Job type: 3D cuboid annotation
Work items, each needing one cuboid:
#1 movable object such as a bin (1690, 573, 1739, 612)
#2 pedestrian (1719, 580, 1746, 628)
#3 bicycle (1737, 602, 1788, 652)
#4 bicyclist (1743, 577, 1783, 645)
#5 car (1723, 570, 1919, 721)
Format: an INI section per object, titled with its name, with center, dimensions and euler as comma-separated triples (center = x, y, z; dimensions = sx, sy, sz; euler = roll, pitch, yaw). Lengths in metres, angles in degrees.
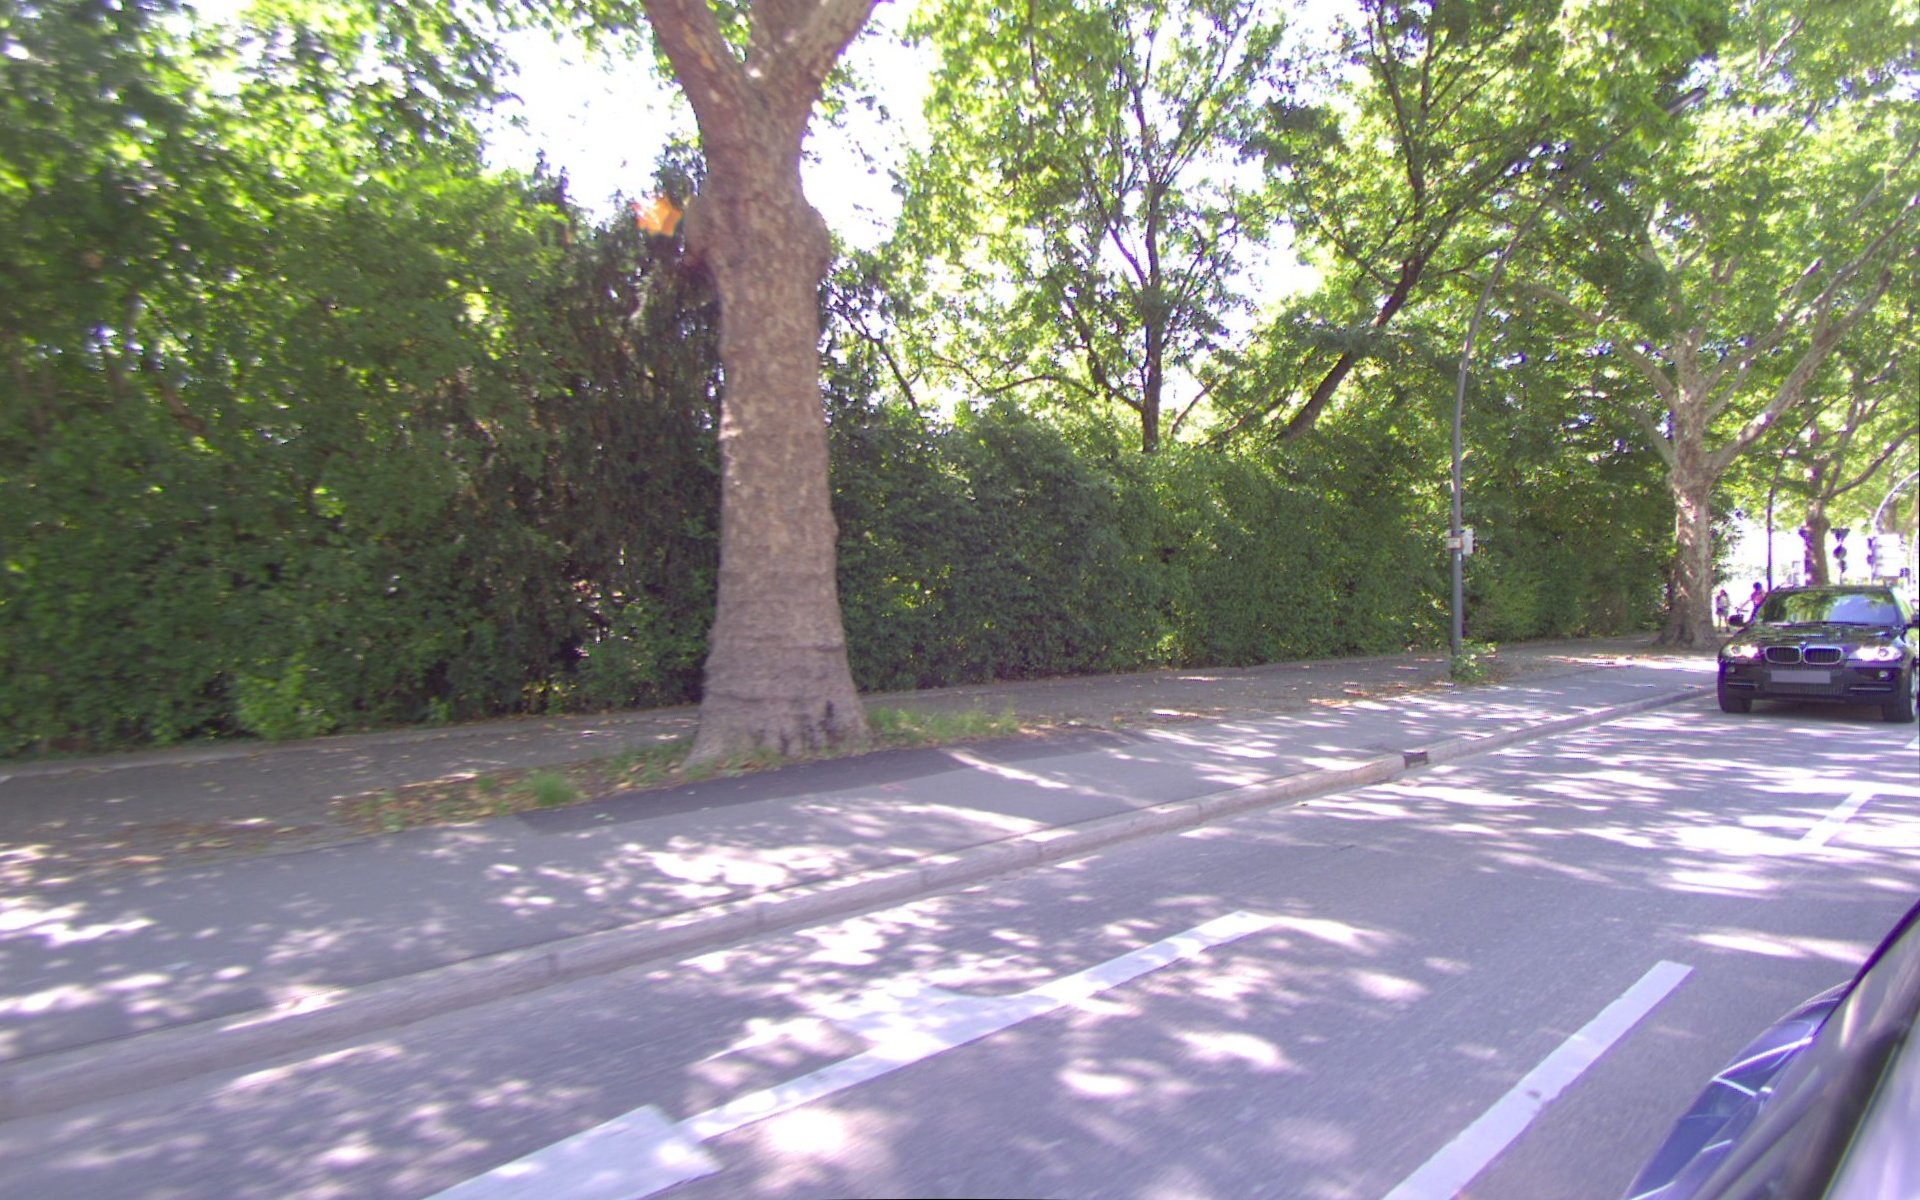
[movable object such as a bin]
center = 62.041, -0.556, 83.178
dimensions = 5.887, 3.111, 2.370
euler = 0, -1, -45
[pedestrian]
center = 29.078, 0.150, 38.075
dimensions = 0.859, 1.808, 0.633
euler = 0, -1, -41
[bicycle]
center = 19.382, 0.628, 24.433
dimensions = 1.912, 1.143, 0.652
euler = 0, 1, -42
[bicyclist]
center = 19.372, 0.255, 24.419
dimensions = 0.720, 1.620, 0.620
euler = 0, 1, -43
[car]
center = 12.078, 0.520, 13.779
dimensions = 4.080, 1.752, 1.922
euler = 0, -1, -42
